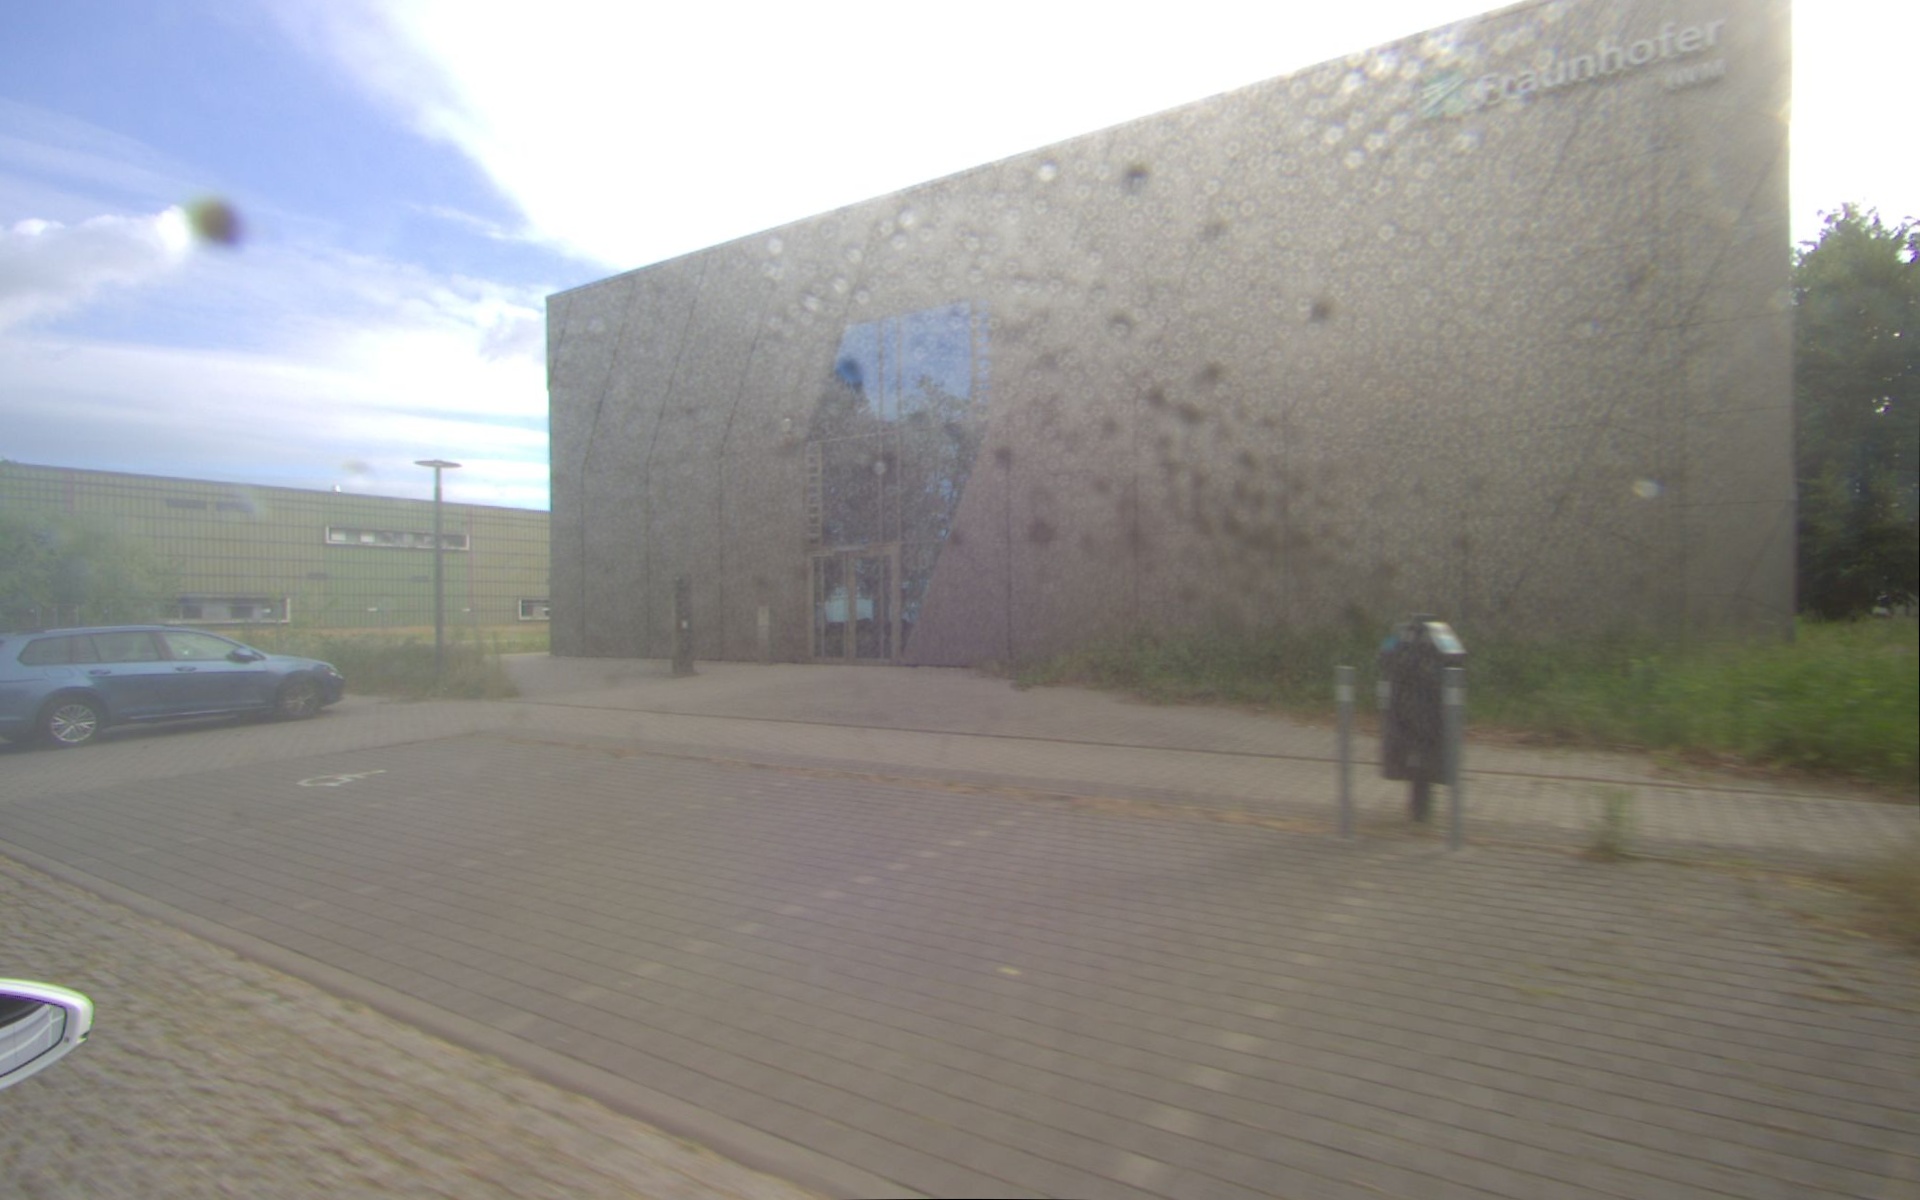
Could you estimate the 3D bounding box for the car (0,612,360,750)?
[{"bbox_3d":[-11.097,0.984,13.817,1.796,1.463,4.514,0,1,30],"label":"car"}]
